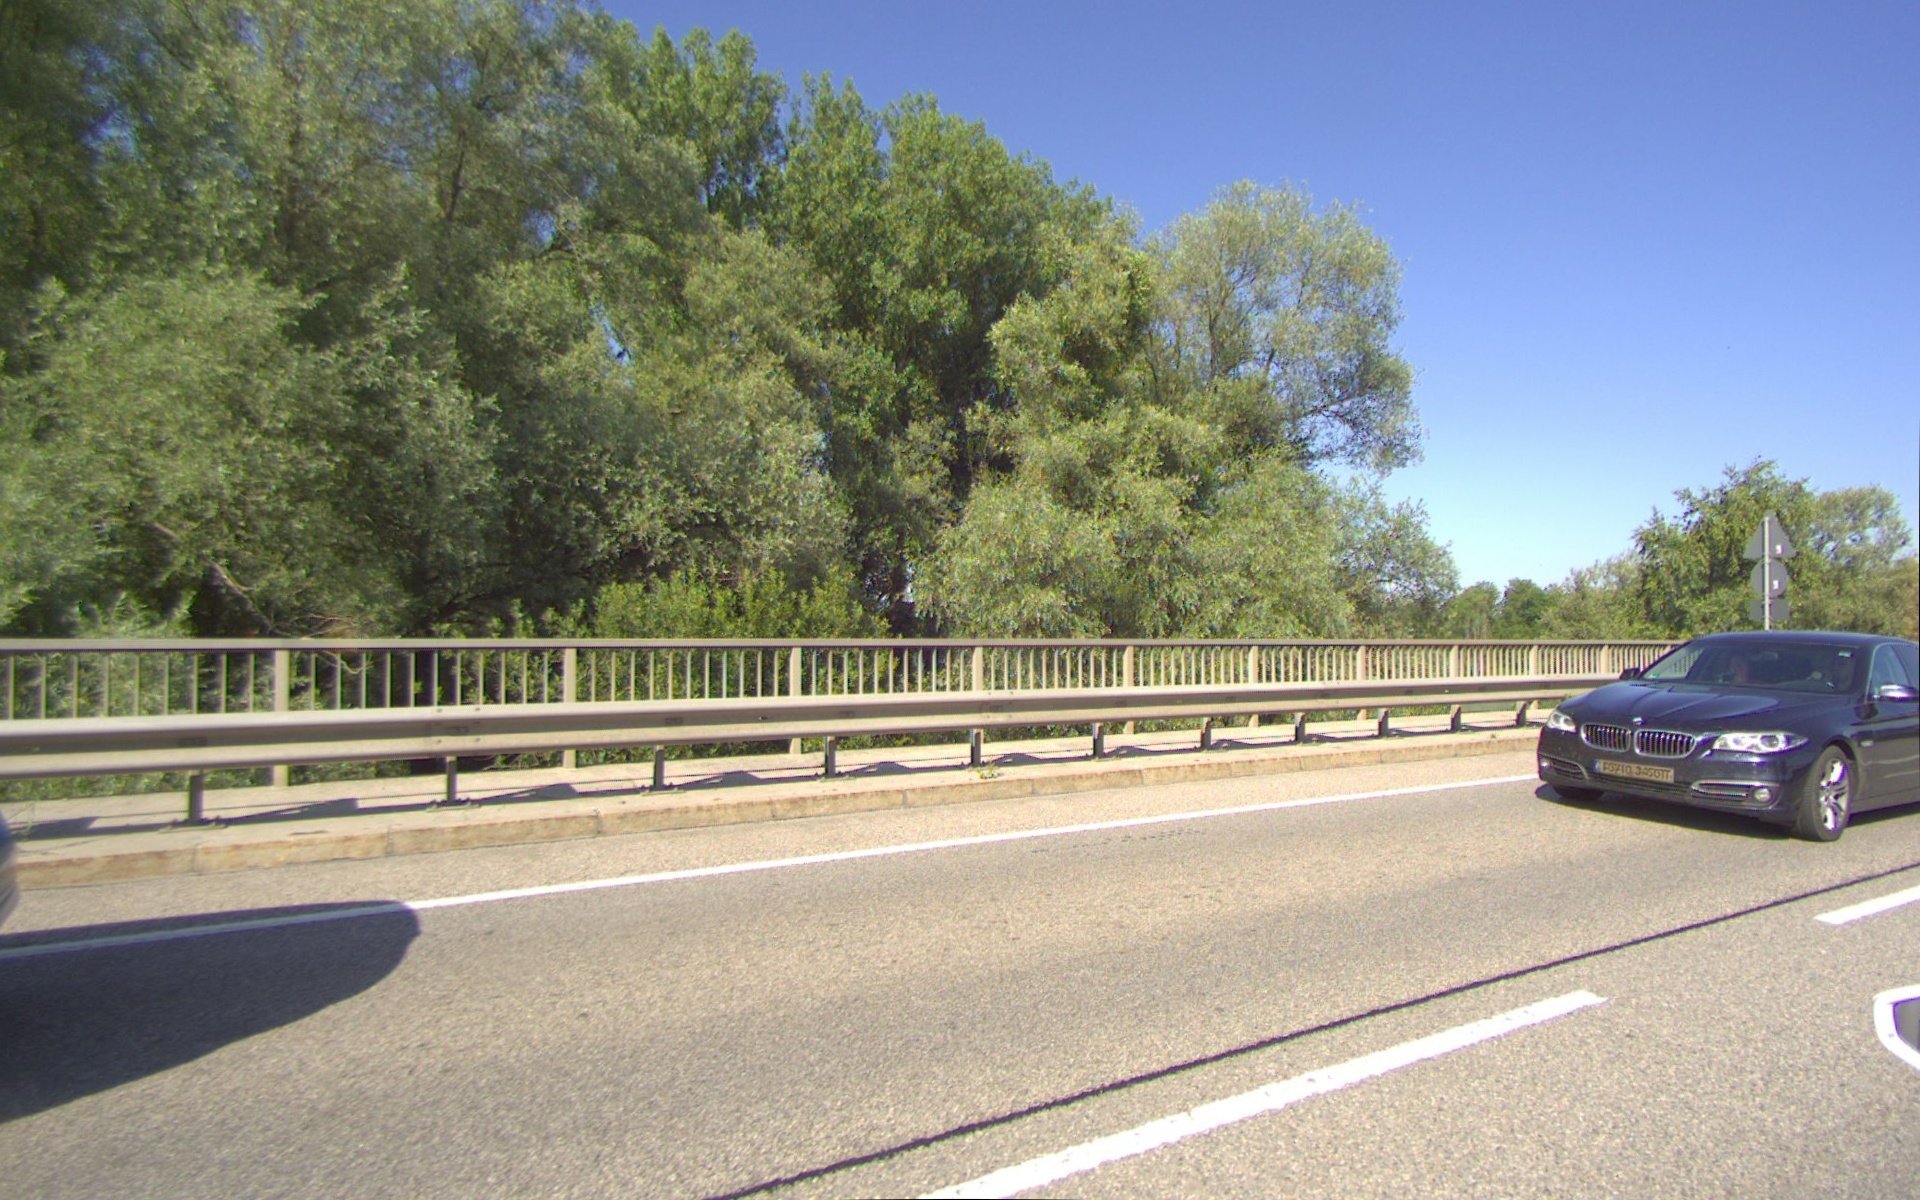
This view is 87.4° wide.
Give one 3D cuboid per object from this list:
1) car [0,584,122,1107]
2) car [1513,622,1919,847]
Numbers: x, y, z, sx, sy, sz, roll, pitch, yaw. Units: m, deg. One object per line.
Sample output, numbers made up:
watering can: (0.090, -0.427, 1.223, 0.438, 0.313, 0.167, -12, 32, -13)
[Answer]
car: (-4.768, 0.645, 2.031, 4.434, 1.455, 1.723, 1, -1, -30)
car: (6.845, 0.931, 8.386, 4.595, 1.439, 1.779, 1, -1, -29)
